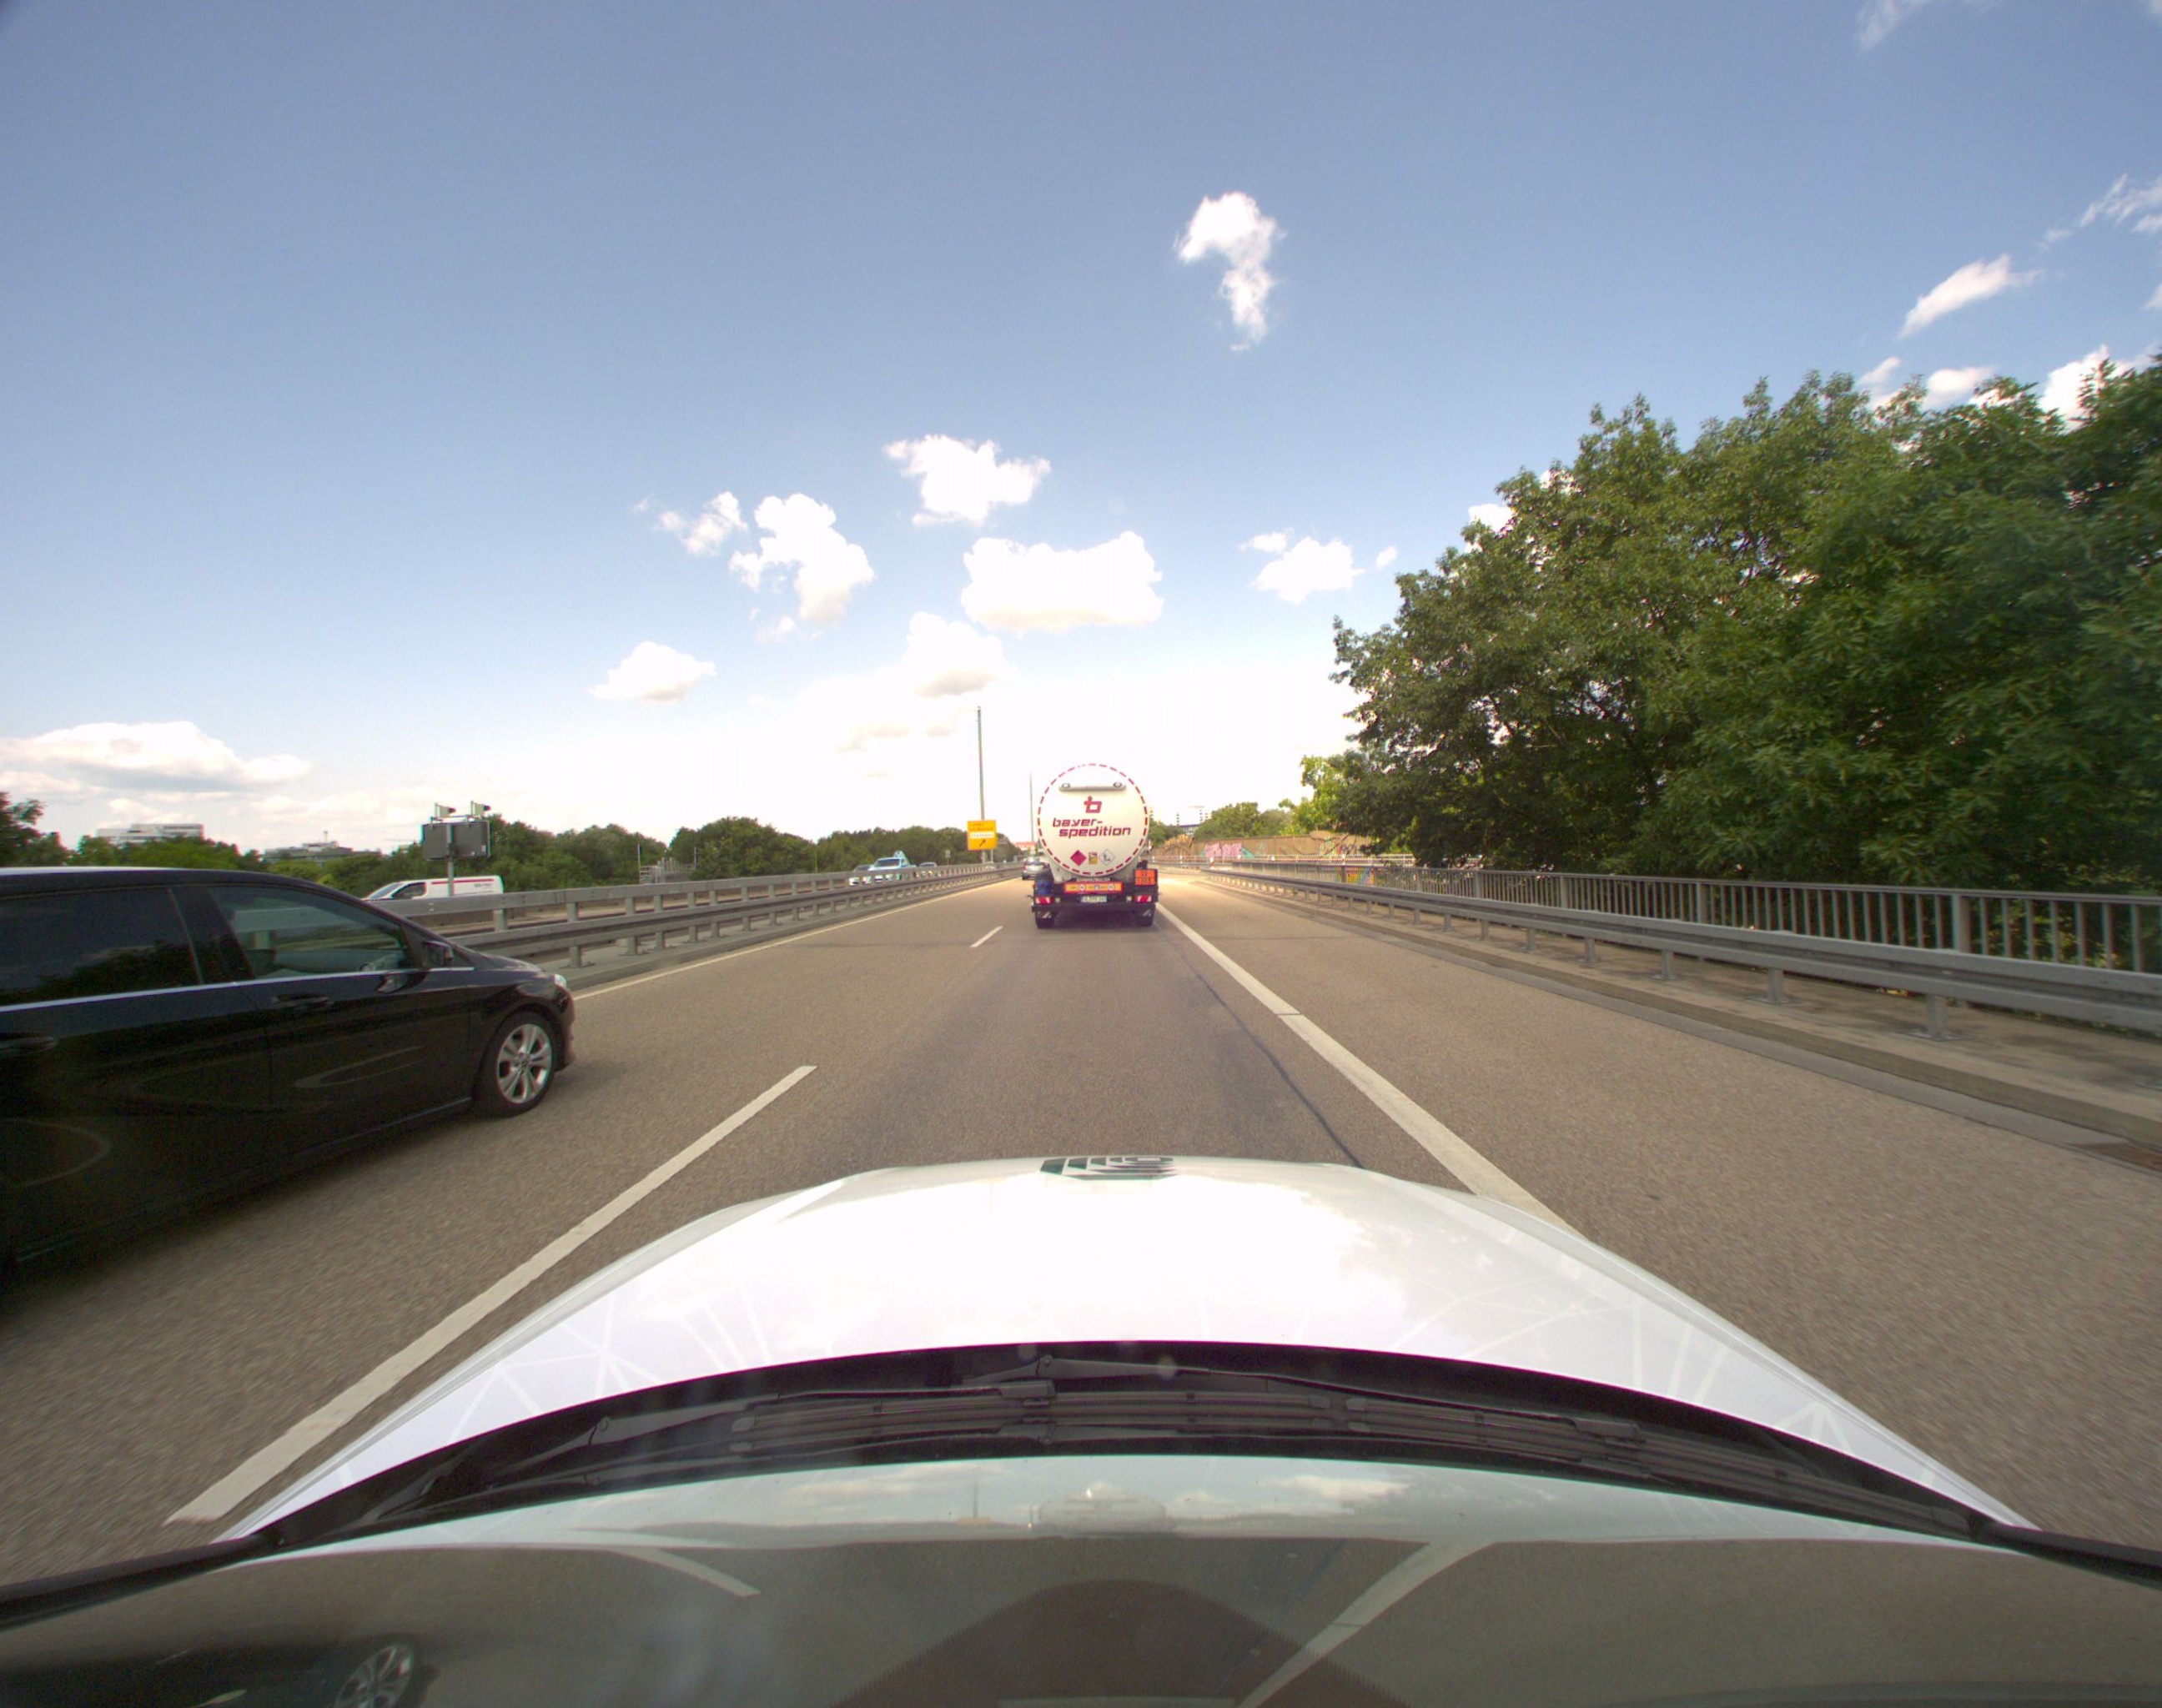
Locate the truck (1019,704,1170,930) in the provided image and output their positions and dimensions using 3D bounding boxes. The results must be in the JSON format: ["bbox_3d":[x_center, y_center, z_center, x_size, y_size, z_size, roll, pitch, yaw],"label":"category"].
[{"bbox_3d":[0.301,-0.706,19.784,2.885,4.369,8.029,-1,0,0],"label":"truck"}]

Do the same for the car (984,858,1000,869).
[{"bbox_3d":[-13.111,1.405,120.102,1.791,1.596,4.714,-1,0,2],"label":"car"}]

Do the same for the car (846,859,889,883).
[{"bbox_3d":[-14.772,1.175,56.555,1.822,1.581,3.956,-1,0,2],"label":"car"}]

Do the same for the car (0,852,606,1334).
[{"bbox_3d":[-4.268,0.769,3.479,1.705,1.527,4.593,-1,0,1],"label":"car"}]

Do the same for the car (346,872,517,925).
[{"bbox_3d":[-26.792,1.760,33.853,1.975,1.898,5.199,-1,0,27],"label":"car"}]

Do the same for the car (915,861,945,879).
[{"bbox_3d":[-13.314,1.364,72.017,1.896,1.529,4.241,0,0,-1],"label":"car"}]

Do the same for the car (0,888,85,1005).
[{"bbox_3d":[-16.455,1.358,10.420,1.885,1.640,4.510,0,0,-1],"label":"car"}]

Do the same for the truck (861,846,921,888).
[{"bbox_3d":[-10.422,0.695,45.127,1.865,2.187,5.191,-1,0,2],"label":"truck"}]

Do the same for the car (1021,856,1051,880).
[{"bbox_3d":[-3.077,0.956,56.509,1.741,1.531,4.000,-1,0,1],"label":"car"}]
